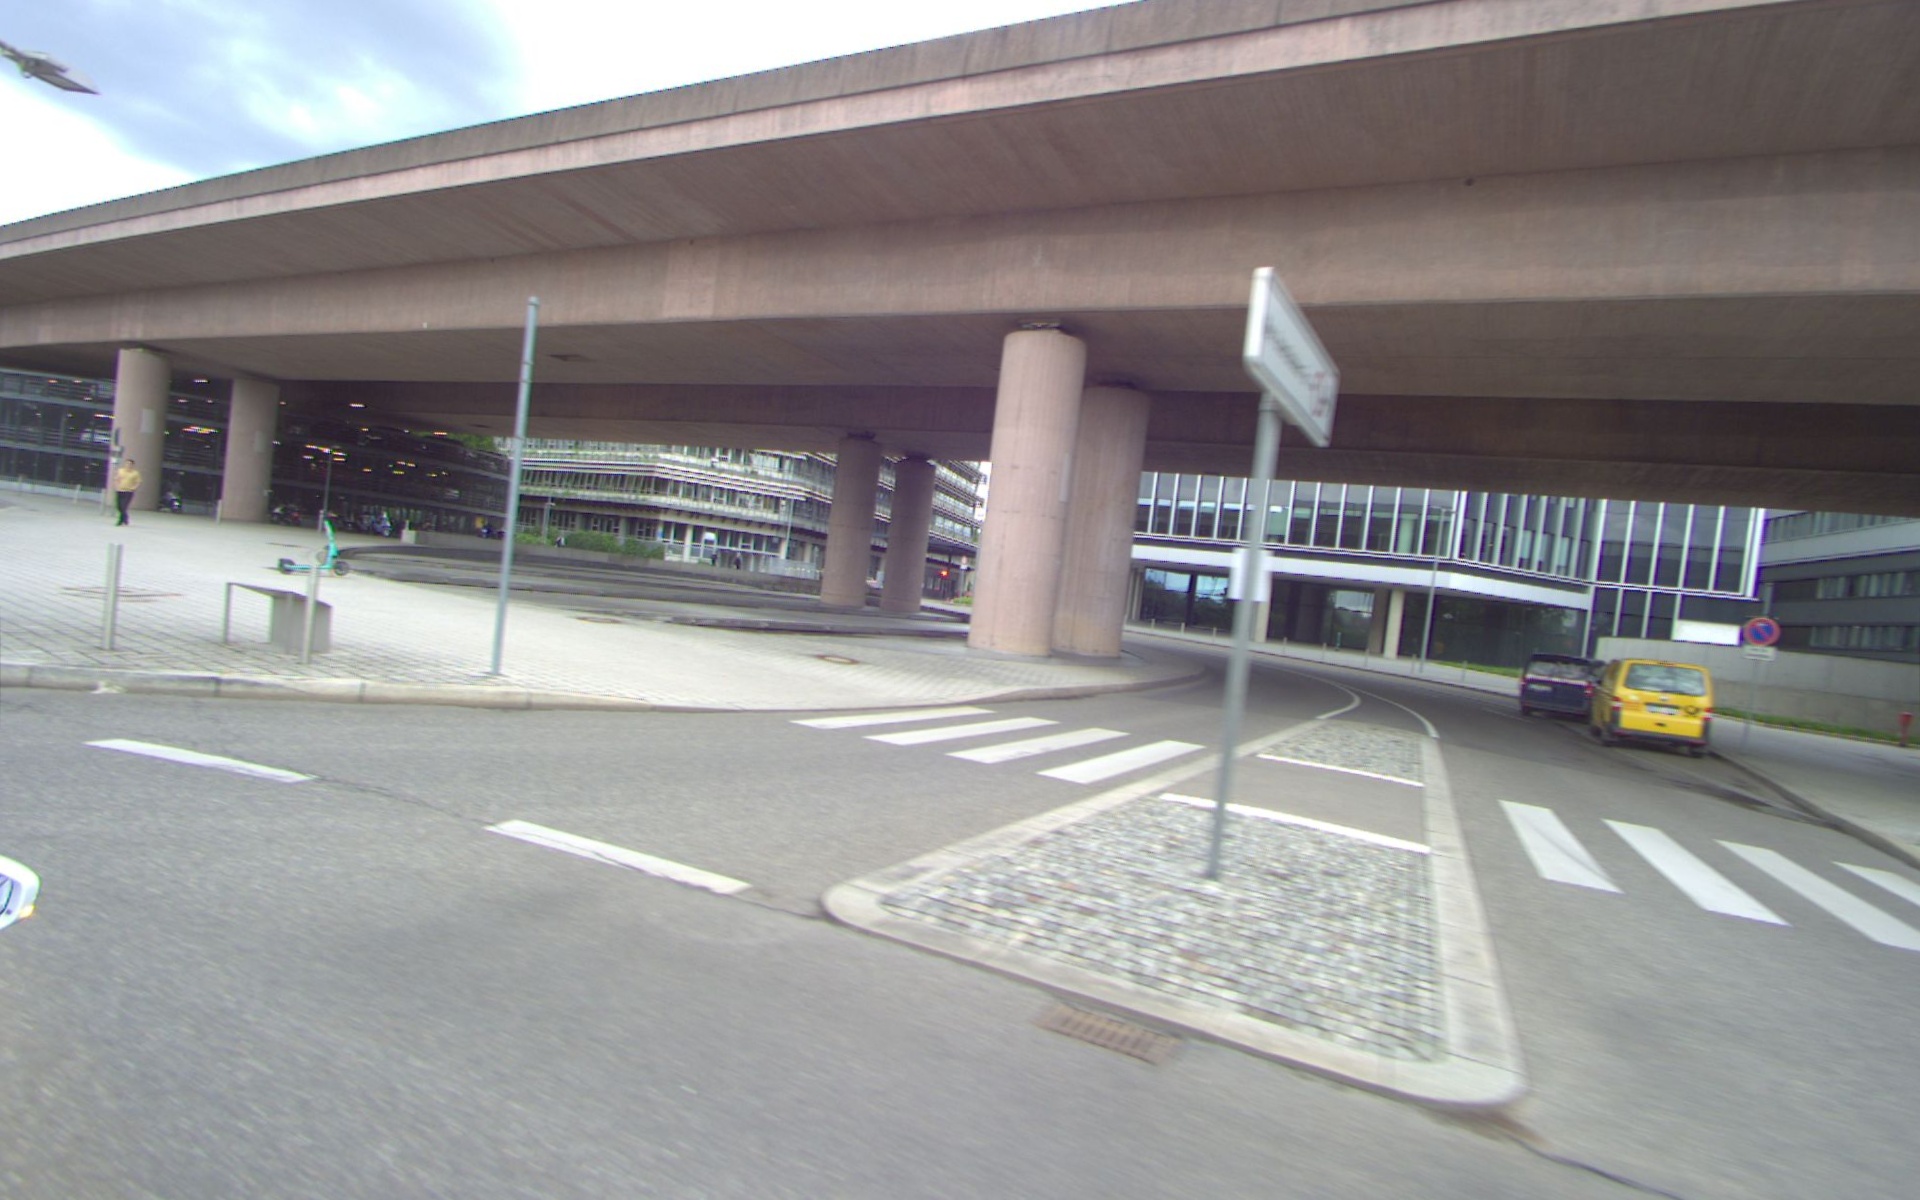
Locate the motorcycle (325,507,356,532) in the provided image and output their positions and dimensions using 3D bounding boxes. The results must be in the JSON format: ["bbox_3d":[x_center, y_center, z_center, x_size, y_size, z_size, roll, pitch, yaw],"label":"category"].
[{"bbox_3d":[-36.140,-4.694,58.675,2.045,1.236,0.672,9,3,34],"label":"motorcycle"}]

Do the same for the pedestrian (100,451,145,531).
[{"bbox_3d":[-23.022,-2.997,27.665,0.778,2.040,1.028,6,3,-38],"label":"pedestrian"}]

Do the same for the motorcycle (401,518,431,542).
[{"bbox_3d":[-33.759,-4.359,62.440,2.045,1.236,0.672,9,3,34],"label":"motorcycle"}]

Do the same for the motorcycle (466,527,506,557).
[{"bbox_3d":[-22.784,-2.772,48.390,0.538,1.281,1.940,8,2,12],"label":"motorcycle"}]

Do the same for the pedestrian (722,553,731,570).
[{"bbox_3d":[-21.562,-3.582,92.999,0.487,1.501,0.544,8,3,2],"label":"pedestrian"}]

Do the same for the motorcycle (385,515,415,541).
[{"bbox_3d":[-34.260,-4.394,61.519,2.045,1.303,0.672,9,3,34],"label":"motorcycle"}]

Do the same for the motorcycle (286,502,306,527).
[{"bbox_3d":[-37.433,-4.837,56.711,0.824,1.236,2.058,6,3,-34],"label":"motorcycle"}]

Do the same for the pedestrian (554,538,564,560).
[{"bbox_3d":[-38.928,-4.984,97.681,0.566,2.039,0.526,8,2,42],"label":"pedestrian"}]

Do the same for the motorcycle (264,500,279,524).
[{"bbox_3d":[-38.625,-4.926,56.419,0.517,1.236,1.137,6,3,-38],"label":"motorcycle"}]

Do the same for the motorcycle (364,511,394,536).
[{"bbox_3d":[-34.974,-4.624,60.509,2.045,1.236,0.672,9,3,34],"label":"motorcycle"}]

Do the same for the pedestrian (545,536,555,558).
[{"bbox_3d":[-39.771,-5.103,97.572,0.566,2.039,0.526,8,2,41],"label":"pedestrian"}]

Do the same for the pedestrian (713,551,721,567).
[{"bbox_3d":[-22.938,-3.852,94.977,0.487,1.501,0.544,8,3,2],"label":"pedestrian"}]

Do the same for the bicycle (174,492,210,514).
[{"bbox_3d":[-42.168,-5.316,55.269,1.461,0.989,0.448,7,3,-31],"label":"bicycle"}]

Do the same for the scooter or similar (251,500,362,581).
[{"bbox_3d":[-12.478,-1.116,19.246,1.637,1.312,0.512,6,3,-42],"label":"scooter or similar"}]

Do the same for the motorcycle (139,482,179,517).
[{"bbox_3d":[-39.706,-4.973,49.868,1.729,1.474,0.643,9,3,18],"label":"motorcycle"}]

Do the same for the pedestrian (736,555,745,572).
[{"bbox_3d":[-20.317,-3.408,92.991,0.487,1.501,0.544,8,3,2],"label":"pedestrian"}]

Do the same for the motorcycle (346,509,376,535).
[{"bbox_3d":[-35.462,-4.617,59.526,2.045,1.236,0.672,9,3,34],"label":"motorcycle"}]

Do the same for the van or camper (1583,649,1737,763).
[{"bbox_3d":[15.594,2.273,22.687,2.323,2.025,4.494,6,1,31],"label":"van or camper"}]

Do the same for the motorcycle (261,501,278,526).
[{"bbox_3d":[-37.817,-4.738,55.102,0.515,1.236,1.142,6,3,-26],"label":"motorcycle"}]

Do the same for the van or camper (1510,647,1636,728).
[{"bbox_3d":[18.251,2.593,29.833,2.124,1.917,4.876,10,2,42],"label":"van or camper"}]

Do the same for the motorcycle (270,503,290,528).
[{"bbox_3d":[-35.975,-4.467,53.250,0.514,1.185,1.145,7,0,-20],"label":"motorcycle"}]

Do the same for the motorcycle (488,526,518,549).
[{"bbox_3d":[-31.214,-4.286,68.758,2.325,1.236,0.672,9,3,34],"label":"motorcycle"}]
